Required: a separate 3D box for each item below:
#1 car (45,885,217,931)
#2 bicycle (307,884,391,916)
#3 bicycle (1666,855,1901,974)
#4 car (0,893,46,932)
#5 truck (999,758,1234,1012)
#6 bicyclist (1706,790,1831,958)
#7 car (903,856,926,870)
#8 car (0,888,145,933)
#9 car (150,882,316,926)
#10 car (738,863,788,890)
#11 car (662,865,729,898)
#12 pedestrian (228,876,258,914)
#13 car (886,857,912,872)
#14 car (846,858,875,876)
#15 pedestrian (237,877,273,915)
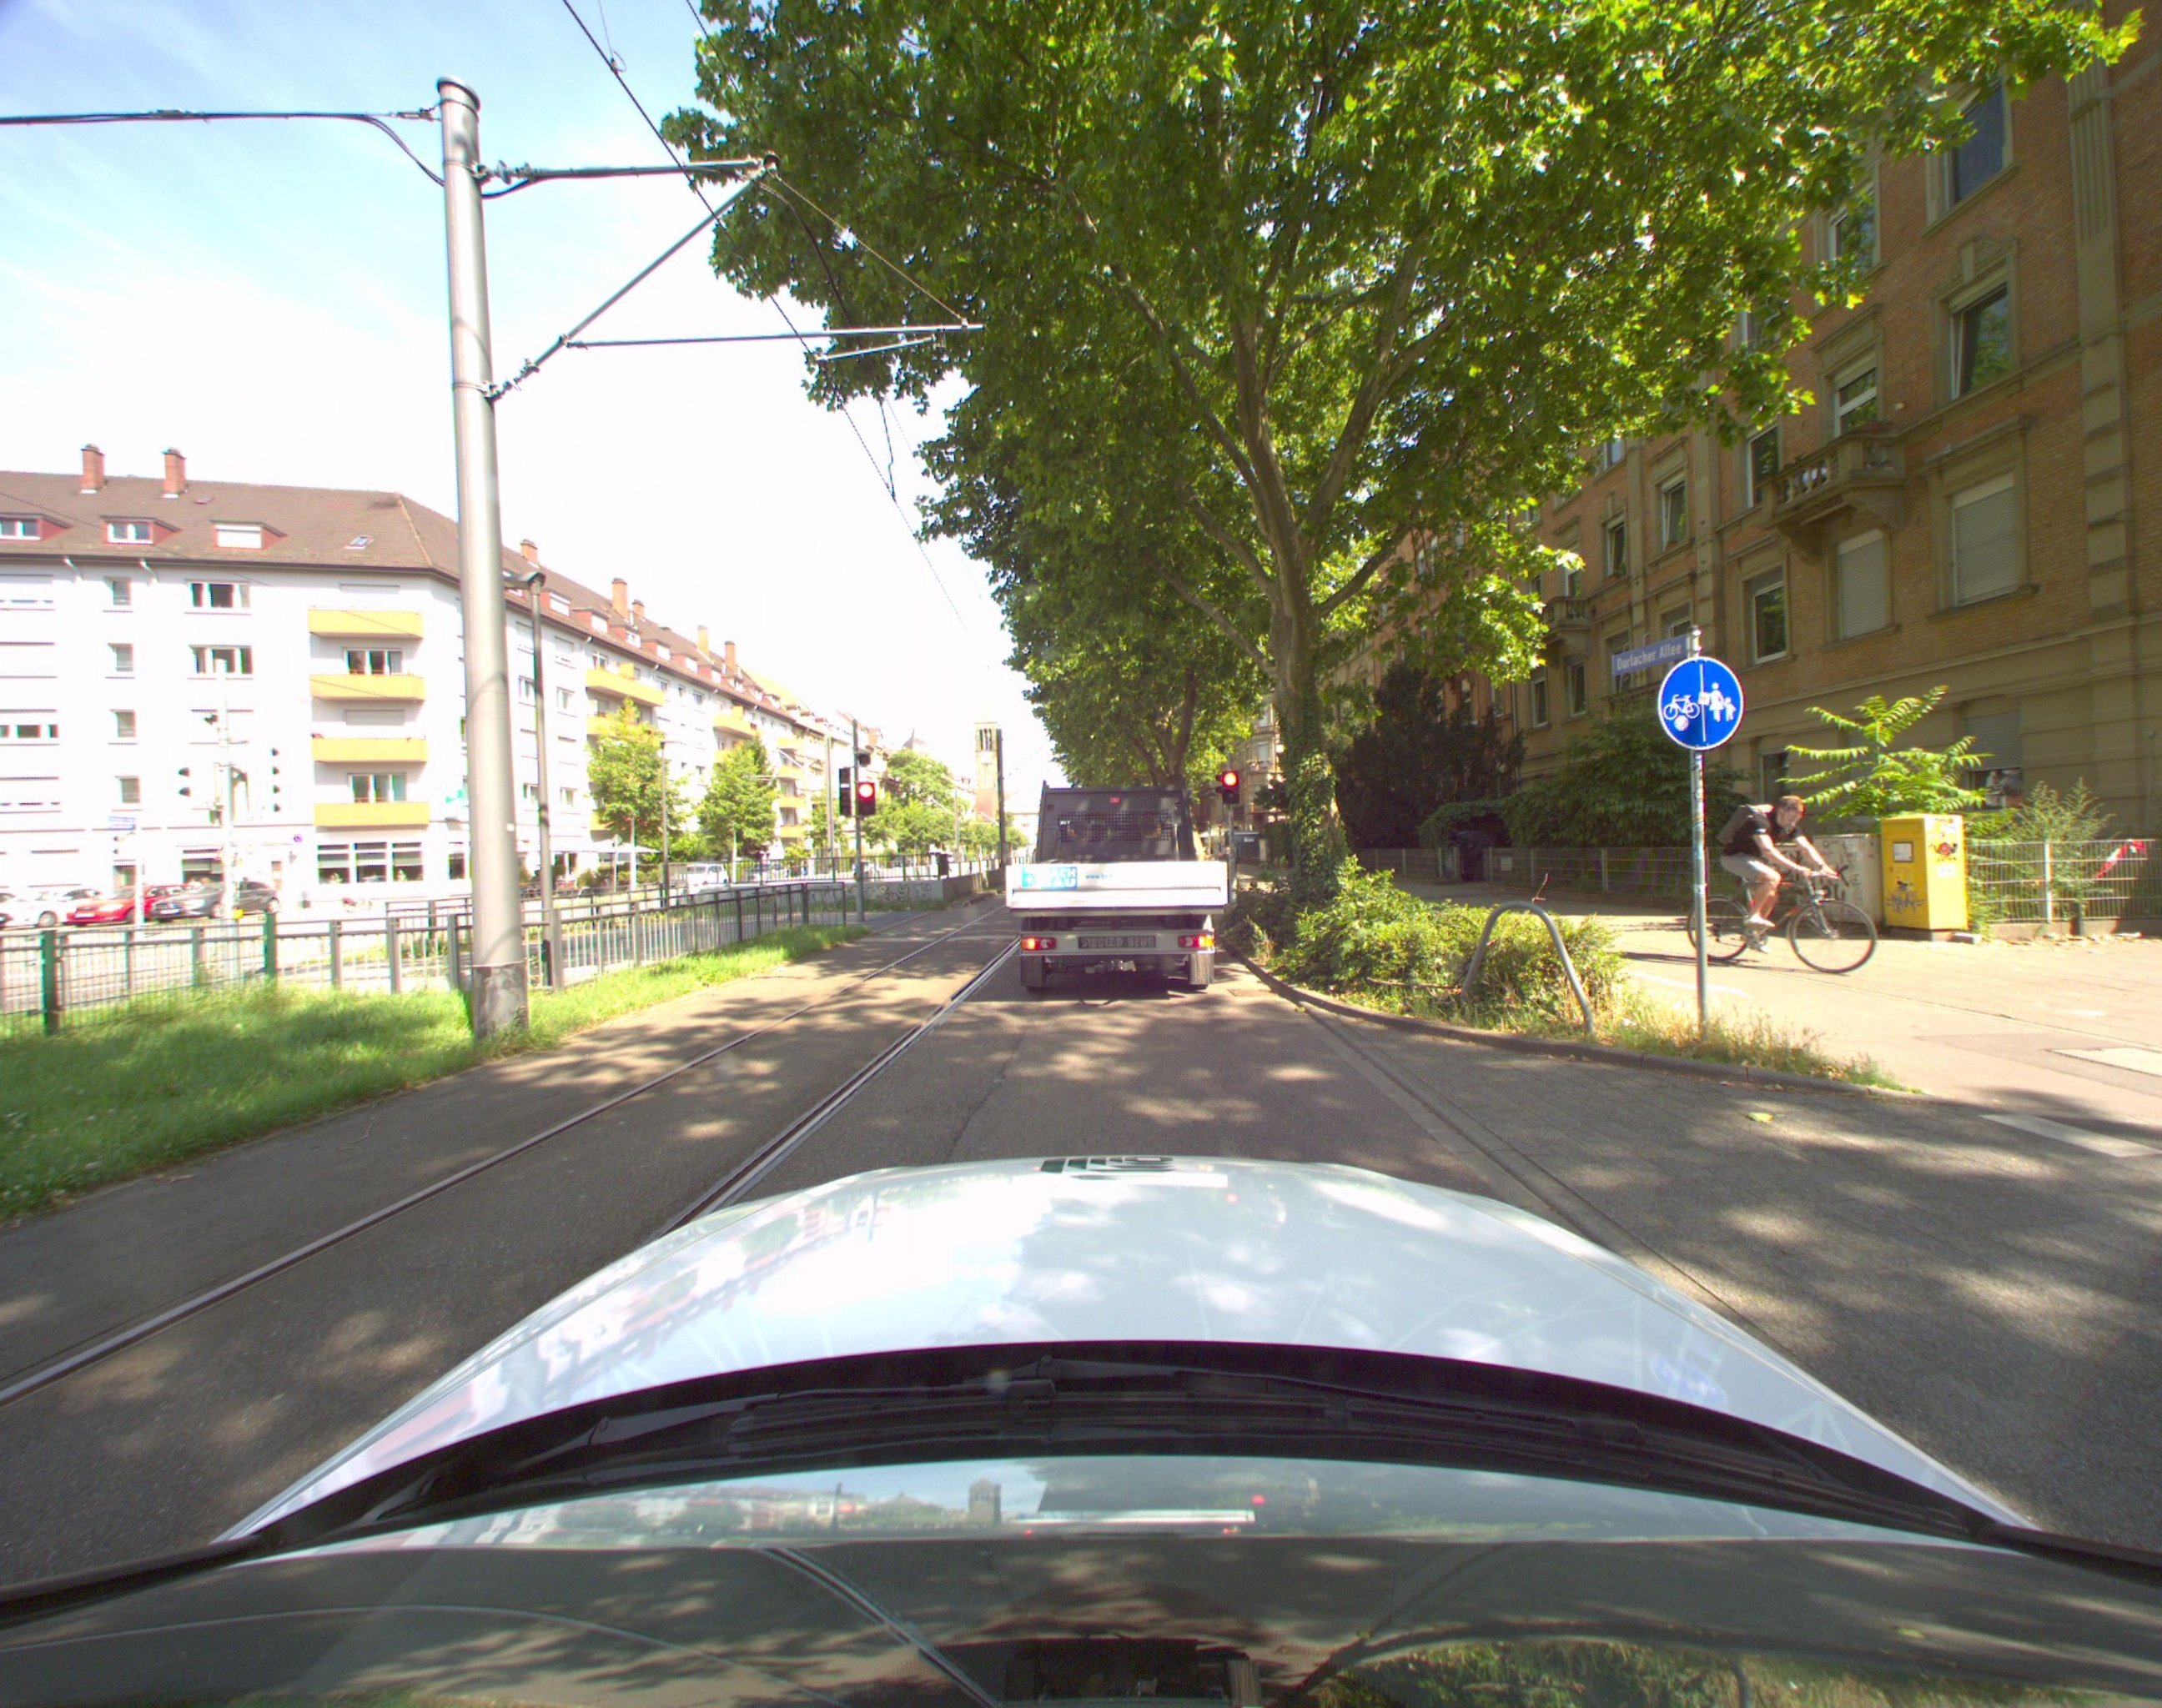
[{"bbox_3d":[-36.492,2.033,31.493,1.930,1.406,4.158,-2,0,-6],"label":"car"},{"bbox_3d":[-30.072,1.864,33.534,0.908,1.137,2.807,-2,0,-2],"label":"bicycle"},{"bbox_3d":[7.068,0.551,8.347,0.530,1.049,1.921,-2,0,-8],"label":"bicycle"},{"bbox_3d":[-41.830,2.290,30.118,1.930,1.406,4.158,-2,0,-6],"label":"car"},{"bbox_3d":[0.430,0.279,9.799,2.130,2.319,4.404,-1,0,3],"label":"truck"},{"bbox_3d":[7.053,0.195,8.382,0.622,1.623,0.693,-3,0,-8],"label":"bicyclist"},{"bbox_3d":[-19.394,1.060,94.946,1.764,1.498,4.000,-2,0,0],"label":"car"},{"bbox_3d":[-39.279,2.143,31.323,1.930,1.406,4.158,-2,0,-6],"label":"car"},{"bbox_3d":[-33.135,1.908,32.068,1.830,1.376,4.637,-2,0,-4],"label":"car"},{"bbox_3d":[-20.303,1.415,52.095,1.767,1.498,3.994,-4,0,-4],"label":"car"},{"bbox_3d":[-20.514,1.449,43.513,1.767,1.498,3.994,-4,0,-4],"label":"car"},{"bbox_3d":[-35.729,1.752,34.737,0.690,1.572,0.542,-2,0,-22],"label":"pedestrian"},{"bbox_3d":[-19.469,1.089,87.105,1.764,1.498,4.000,-2,0,0],"label":"car"},{"bbox_3d":[-19.901,1.148,73.709,1.767,1.498,3.994,-2,0,-4],"label":"car"},{"bbox_3d":[-35.884,1.822,35.376,0.861,1.572,0.685,-2,0,-22],"label":"pedestrian"}]
